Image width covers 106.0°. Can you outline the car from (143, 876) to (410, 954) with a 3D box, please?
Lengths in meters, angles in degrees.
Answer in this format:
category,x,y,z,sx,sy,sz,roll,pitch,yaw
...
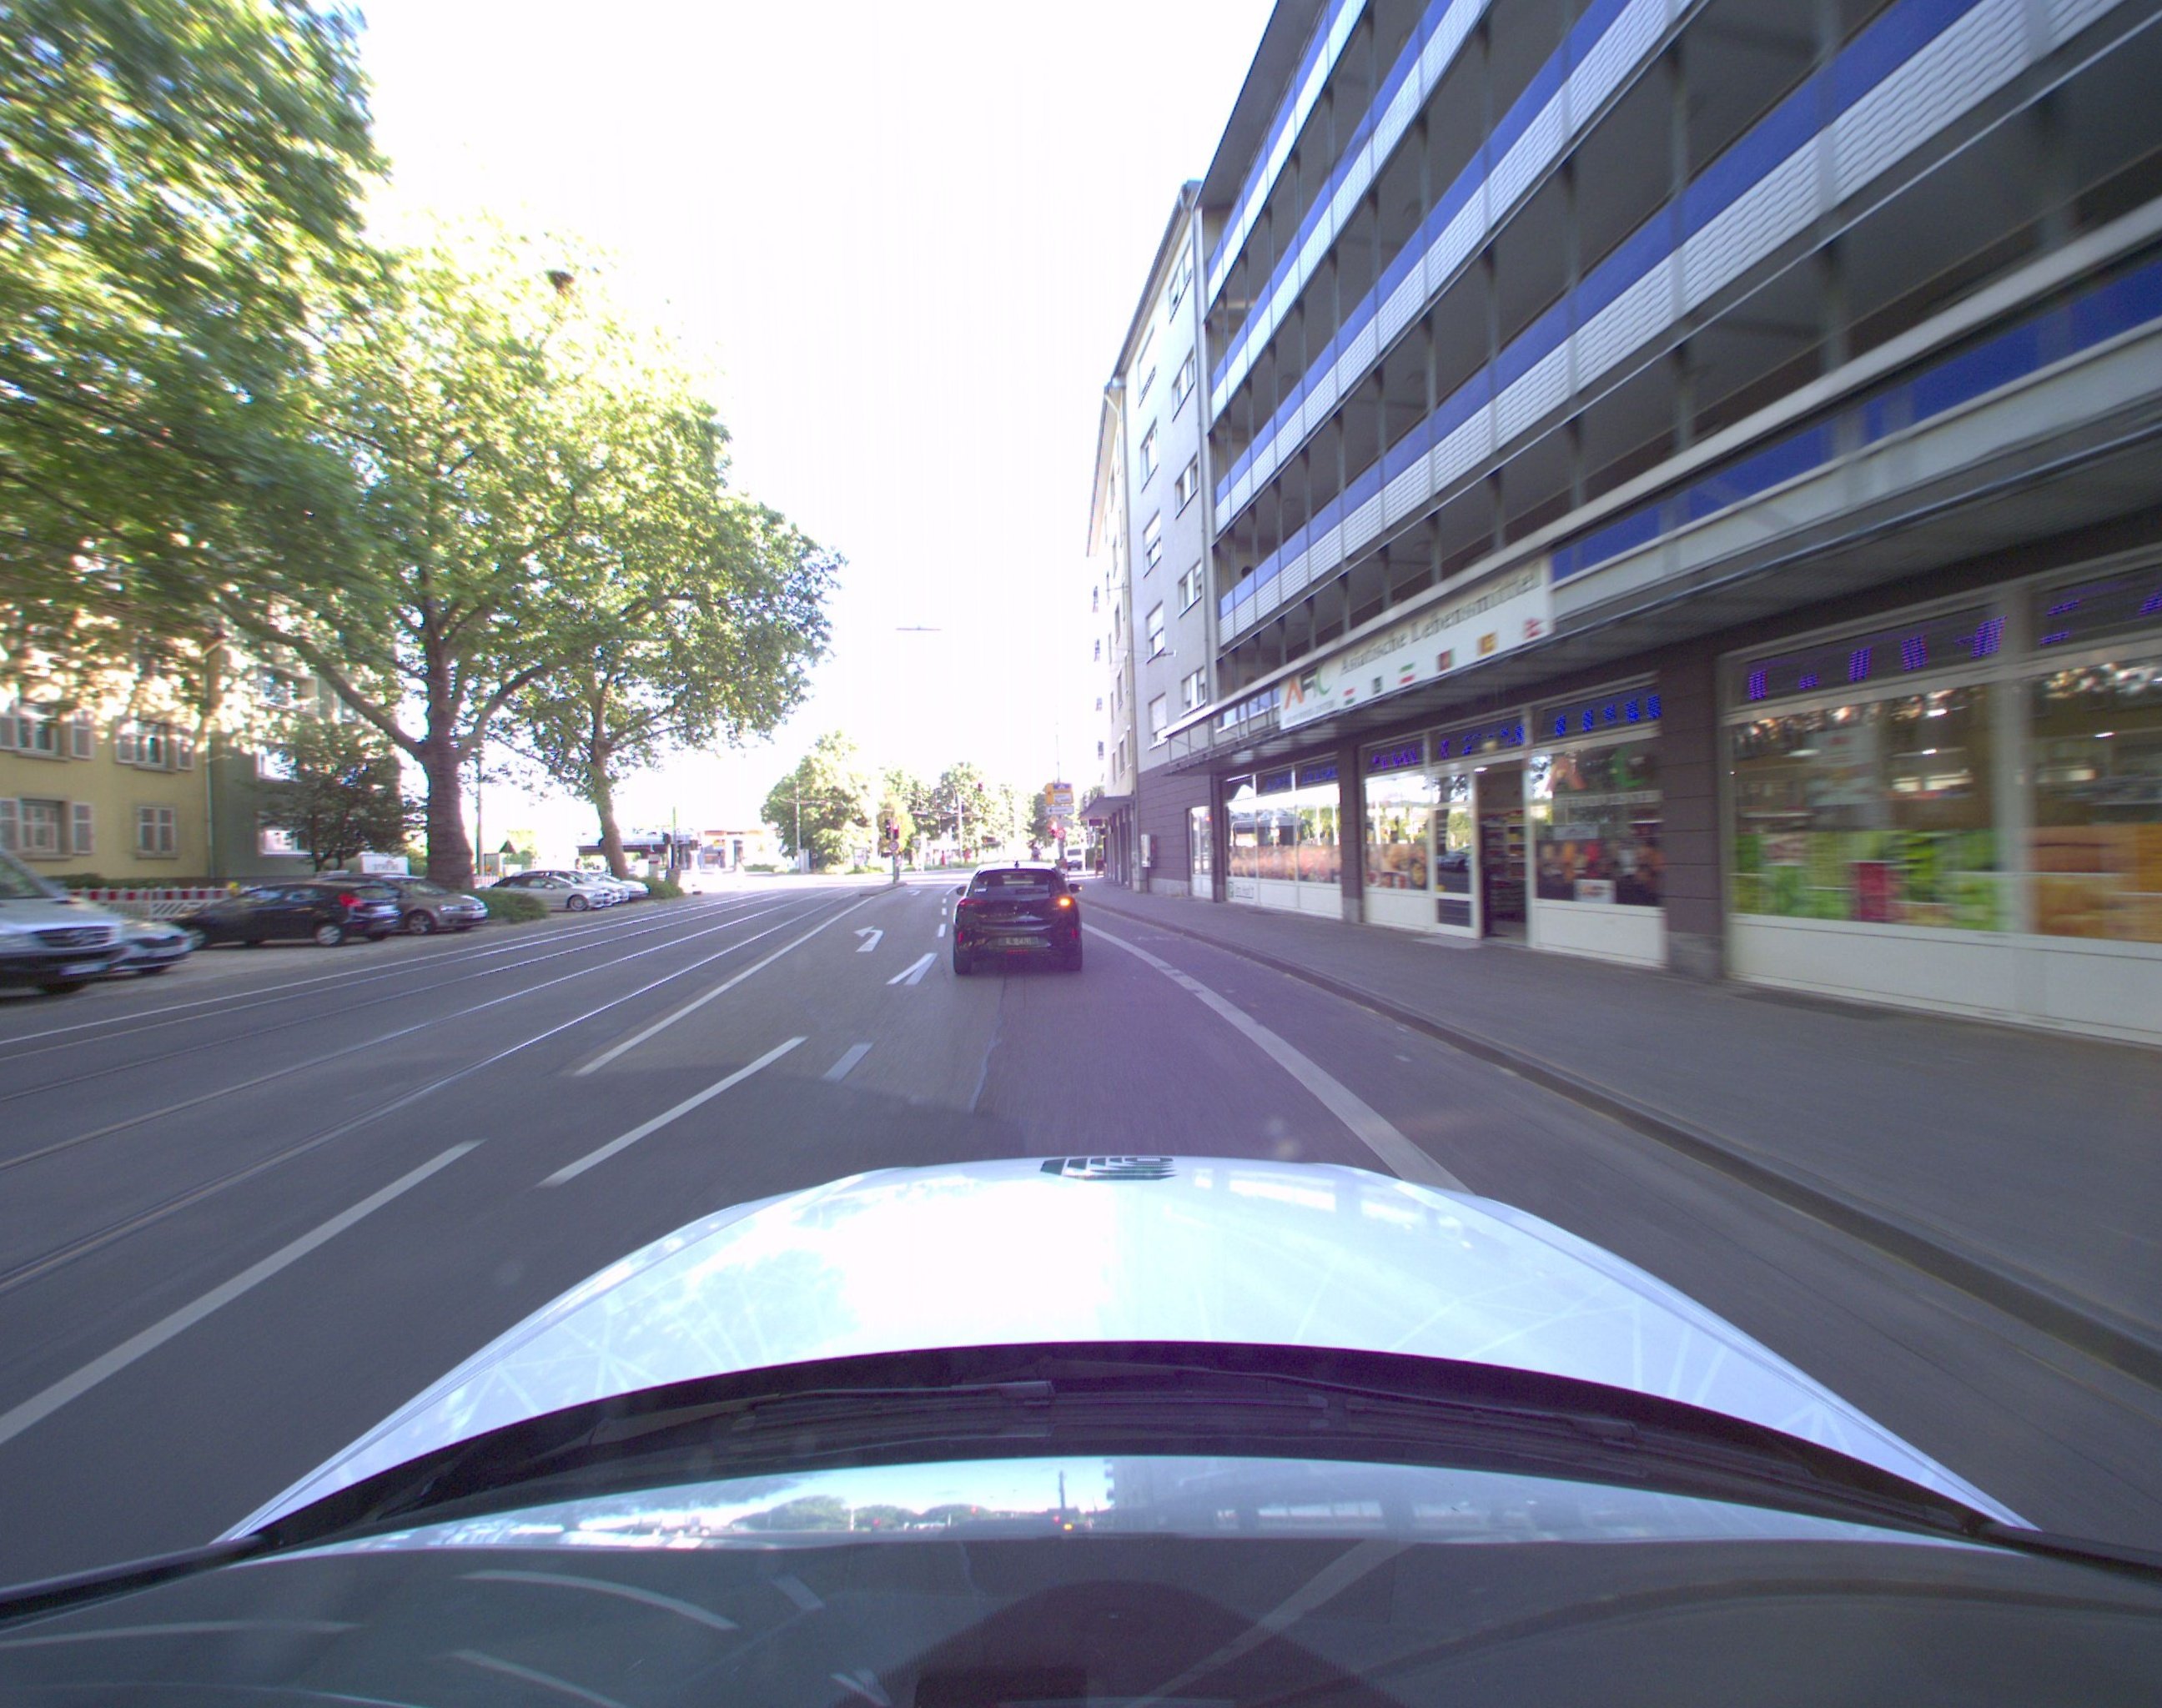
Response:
category,x,y,z,sx,sy,sz,roll,pitch,yaw
car,-18.096,1.329,18.535,3.994,1.515,1.641,-1,0,-15

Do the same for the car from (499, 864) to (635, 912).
category,x,y,z,sx,sy,sz,roll,pitch,yaw
car,-20.654,1.351,32.919,4.174,1.671,1.955,-2,0,-14

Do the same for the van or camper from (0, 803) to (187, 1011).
category,x,y,z,sx,sy,sz,roll,pitch,yaw
van or camper,-16.509,0.718,10.995,5.725,2.644,2.261,-1,0,-11

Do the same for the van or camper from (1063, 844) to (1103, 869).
category,x,y,z,sx,sy,sz,roll,pitch,yaw
van or camper,0.224,0.186,73.740,2.150,2.146,4.528,-1,0,20

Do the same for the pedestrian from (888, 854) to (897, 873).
category,x,y,z,sx,sy,sz,roll,pitch,yaw
pedestrian,-19.633,0.966,84.950,0.652,1.932,0.611,-1,0,15

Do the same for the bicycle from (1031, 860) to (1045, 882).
category,x,y,z,sx,sy,sz,roll,pitch,yaw
bicycle,-2.164,0.838,41.196,0.506,1.067,1.565,-2,0,2

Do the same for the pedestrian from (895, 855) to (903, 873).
category,x,y,z,sx,sy,sz,roll,pitch,yaw
pedestrian,-18.945,1.001,84.881,0.612,1.853,0.586,-1,0,14

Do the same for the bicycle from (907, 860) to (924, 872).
category,x,y,z,sx,sy,sz,roll,pitch,yaw
bicycle,-14.681,1.032,72.238,0.784,0.992,2.247,-1,0,6

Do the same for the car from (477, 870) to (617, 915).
category,x,y,z,sx,sy,sz,roll,pitch,yaw
car,-19.714,1.390,30.214,3.987,1.515,1.644,-1,0,-10

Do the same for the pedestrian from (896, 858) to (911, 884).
category,x,y,z,sx,sy,sz,roll,pitch,yaw
pedestrian,-9.795,0.929,44.955,0.650,1.363,0.645,-2,0,2

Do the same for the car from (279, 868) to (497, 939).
category,x,y,z,sx,sy,sz,roll,pitch,yaw
car,-17.887,1.245,21.202,3.987,1.651,1.644,-1,0,-10

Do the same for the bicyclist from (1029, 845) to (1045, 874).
category,x,y,z,sx,sy,sz,roll,pitch,yaw
bicyclist,-2.213,0.279,41.235,0.703,1.435,0.702,-2,0,1

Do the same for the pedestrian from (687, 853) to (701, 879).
category,x,y,z,sx,sy,sz,roll,pitch,yaw
pedestrian,-33.443,1.006,70.332,0.826,2.220,0.888,-1,-1,-45

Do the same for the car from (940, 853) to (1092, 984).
category,x,y,z,sx,sy,sz,roll,pitch,yaw
car,-0.883,0.763,11.734,1.777,1.496,3.995,-1,0,-3

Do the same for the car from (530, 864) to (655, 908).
category,x,y,z,sx,sy,sz,roll,pitch,yaw
car,-21.090,1.345,35.363,4.174,1.671,1.955,-2,0,-14
